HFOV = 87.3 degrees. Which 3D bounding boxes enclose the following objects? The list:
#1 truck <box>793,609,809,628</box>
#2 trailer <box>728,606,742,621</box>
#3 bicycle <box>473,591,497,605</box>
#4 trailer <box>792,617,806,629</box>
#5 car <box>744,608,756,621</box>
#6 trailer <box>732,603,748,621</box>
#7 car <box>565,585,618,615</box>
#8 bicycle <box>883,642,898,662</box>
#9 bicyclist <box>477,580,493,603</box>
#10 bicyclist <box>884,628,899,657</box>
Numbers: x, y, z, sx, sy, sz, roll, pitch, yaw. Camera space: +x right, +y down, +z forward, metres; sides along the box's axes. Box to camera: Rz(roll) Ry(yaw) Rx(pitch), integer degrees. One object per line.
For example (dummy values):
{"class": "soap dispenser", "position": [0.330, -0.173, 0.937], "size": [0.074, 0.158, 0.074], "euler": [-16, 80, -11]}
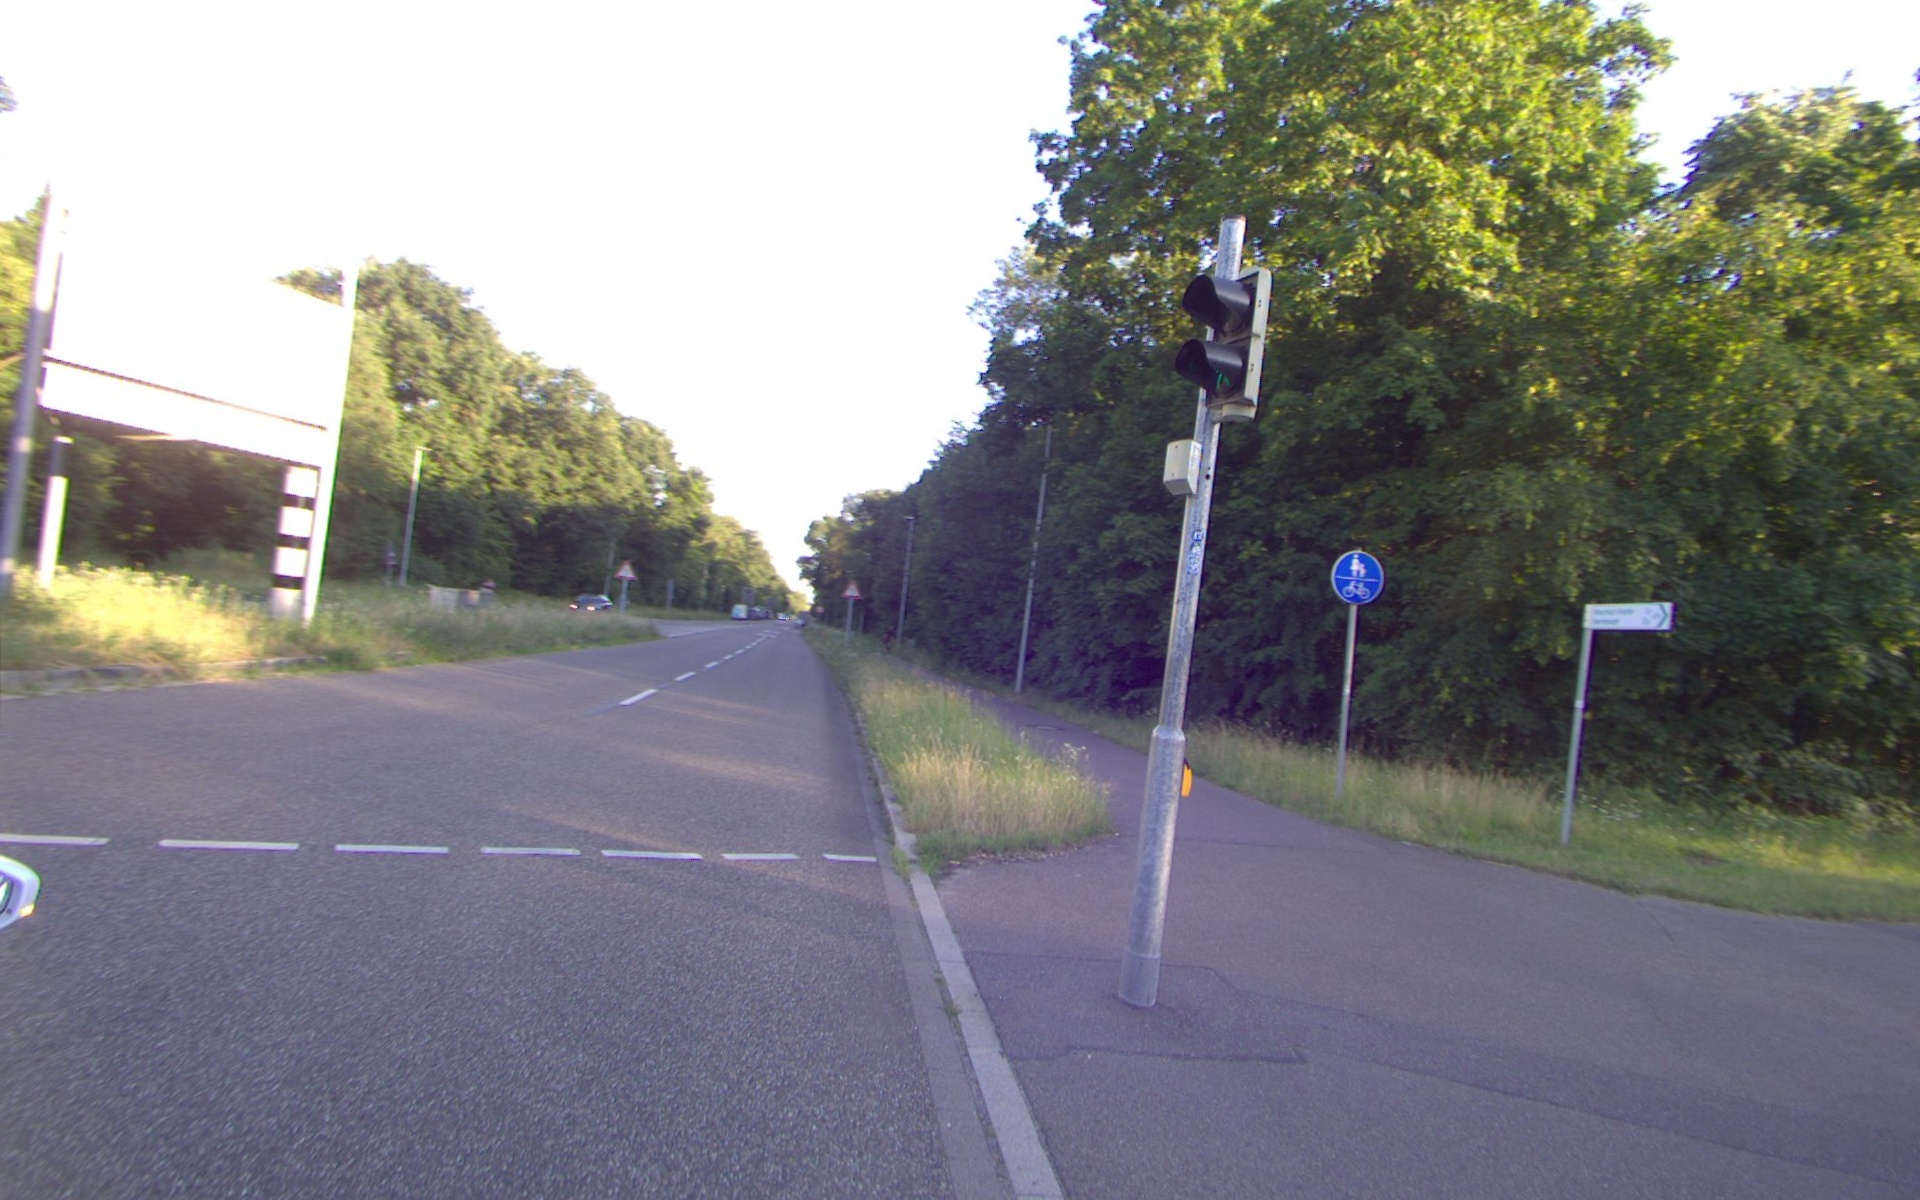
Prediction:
{"class": "truck", "position": [-31.698, 3.681, 200.335], "size": [2.553, 3.291, 7.217], "euler": [8, -2, -7]}
{"class": "trailer", "position": [-37.323, 2.281, 166.905], "size": [1.792, 2.193, 4.138], "euler": [6, -2, -10]}
{"class": "bicycle", "position": [-32.047, -0.135, 67.884], "size": [0.576, 0.814, 1.959], "euler": [6, -2, 0]}
{"class": "trailer", "position": [-26.948, 3.865, 168.548], "size": [1.433, 1.681, 3.781], "euler": [6, -2, 4]}
{"class": "car", "position": [-43.538, 3.011, 208.337], "size": [1.965, 2.393, 5.760], "euler": [5, -2, -9]}
{"class": "trailer", "position": [-39.848, 2.216, 182.292], "size": [2.293, 2.959, 5.621], "euler": [5, -1, -9]}
{"class": "car", "position": [-22.571, 0.030, 61.801], "size": [1.792, 1.552, 4.455], "euler": [5, -2, -5]}
{"class": "bicycle", "position": [-3.768, 2.789, 54.340], "size": [0.602, 1.007, 1.690], "euler": [6, -2, -8]}
{"class": "bicyclist", "position": [-31.922, -0.596, 67.635], "size": [0.576, 1.446, 0.823], "euler": [6, -1, 0]}
{"class": "bicyclist", "position": [-3.702, 2.286, 54.420], "size": [0.594, 1.472, 0.779], "euler": [6, -1, -8]}
